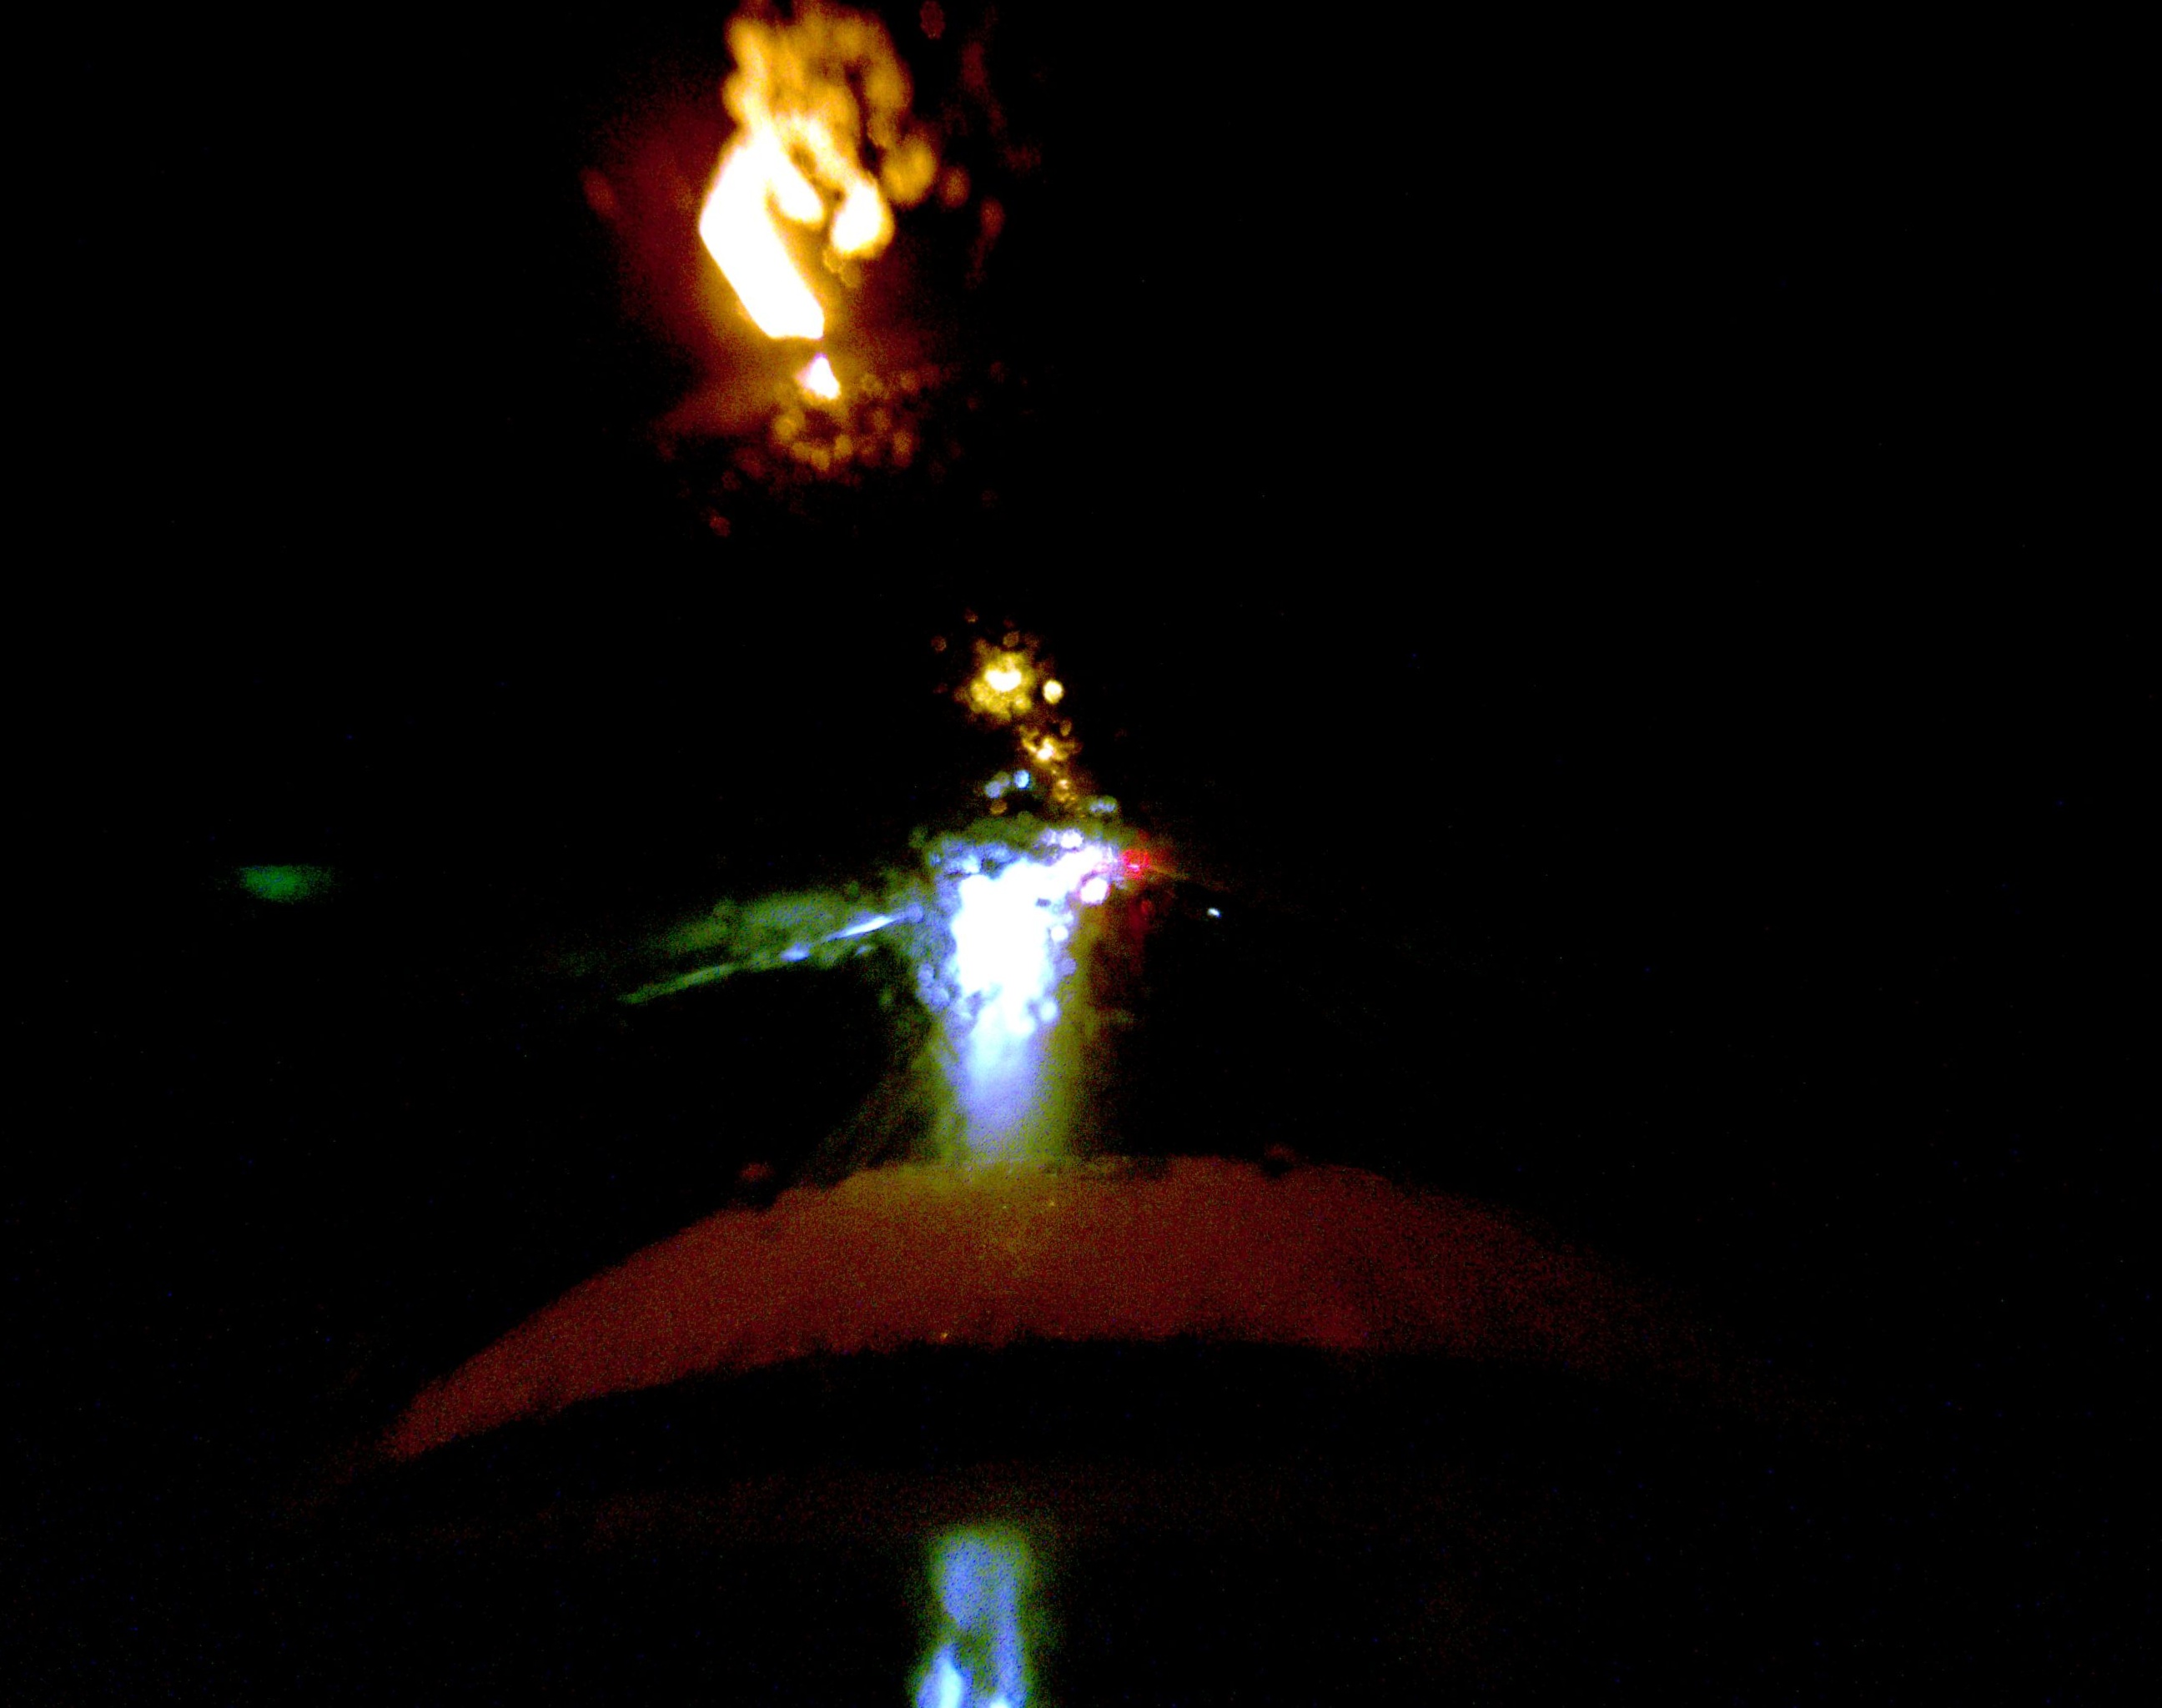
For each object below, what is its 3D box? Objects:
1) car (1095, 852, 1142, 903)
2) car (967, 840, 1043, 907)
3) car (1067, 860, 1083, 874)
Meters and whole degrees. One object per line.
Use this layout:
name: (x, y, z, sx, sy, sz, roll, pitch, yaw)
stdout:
car: (1.415, 0.834, 31.028, 1.629, 1.758, 4.148, -2, 0, 2)
car: (-2.335, 0.561, 26.111, 1.754, 1.899, 4.611, -2, 0, 2)
car: (-0.710, 1.541, 95.242, 1.629, 1.535, 3.648, -2, 0, 2)
